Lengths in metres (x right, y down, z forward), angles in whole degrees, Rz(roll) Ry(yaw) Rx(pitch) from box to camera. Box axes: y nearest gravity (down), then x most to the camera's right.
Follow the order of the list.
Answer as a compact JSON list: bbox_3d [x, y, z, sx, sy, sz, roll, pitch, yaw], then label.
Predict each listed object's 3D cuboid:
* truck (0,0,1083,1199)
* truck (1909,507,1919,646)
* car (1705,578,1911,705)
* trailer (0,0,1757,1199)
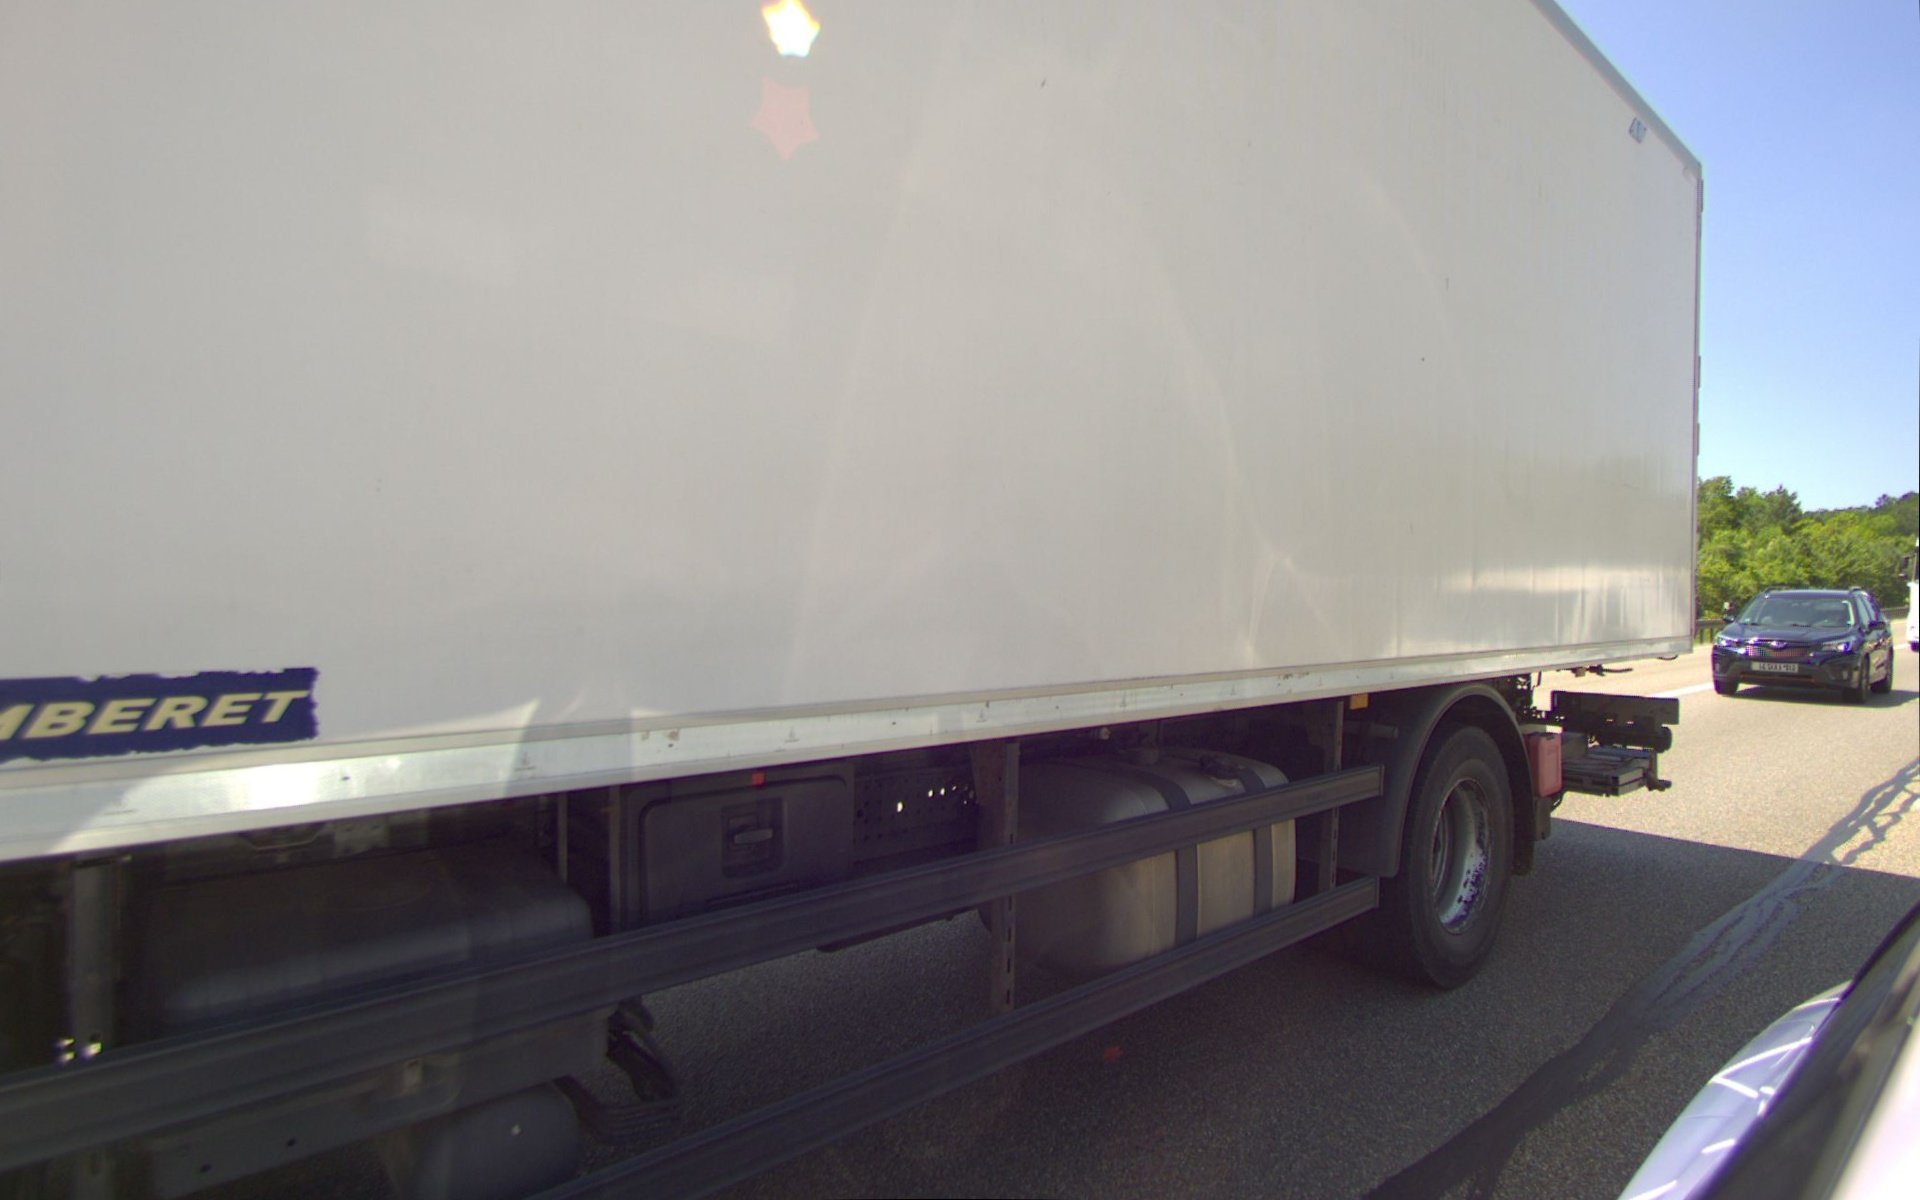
[{"bbox_3d":[-2.122,-0.100,1.662,4.031,2.977,2.561,-1,1,-40],"label":"truck"},{"bbox_3d":[31.986,-0.739,31.492,7.205,4.135,2.765,-1,0,-40],"label":"truck"},{"bbox_3d":[13.697,0.532,16.246,4.534,1.713,1.996,-1,2,-43],"label":"car"},{"bbox_3d":[0.760,-0.112,4.132,7.744,2.936,2.560,0,0,-41],"label":"trailer"}]
